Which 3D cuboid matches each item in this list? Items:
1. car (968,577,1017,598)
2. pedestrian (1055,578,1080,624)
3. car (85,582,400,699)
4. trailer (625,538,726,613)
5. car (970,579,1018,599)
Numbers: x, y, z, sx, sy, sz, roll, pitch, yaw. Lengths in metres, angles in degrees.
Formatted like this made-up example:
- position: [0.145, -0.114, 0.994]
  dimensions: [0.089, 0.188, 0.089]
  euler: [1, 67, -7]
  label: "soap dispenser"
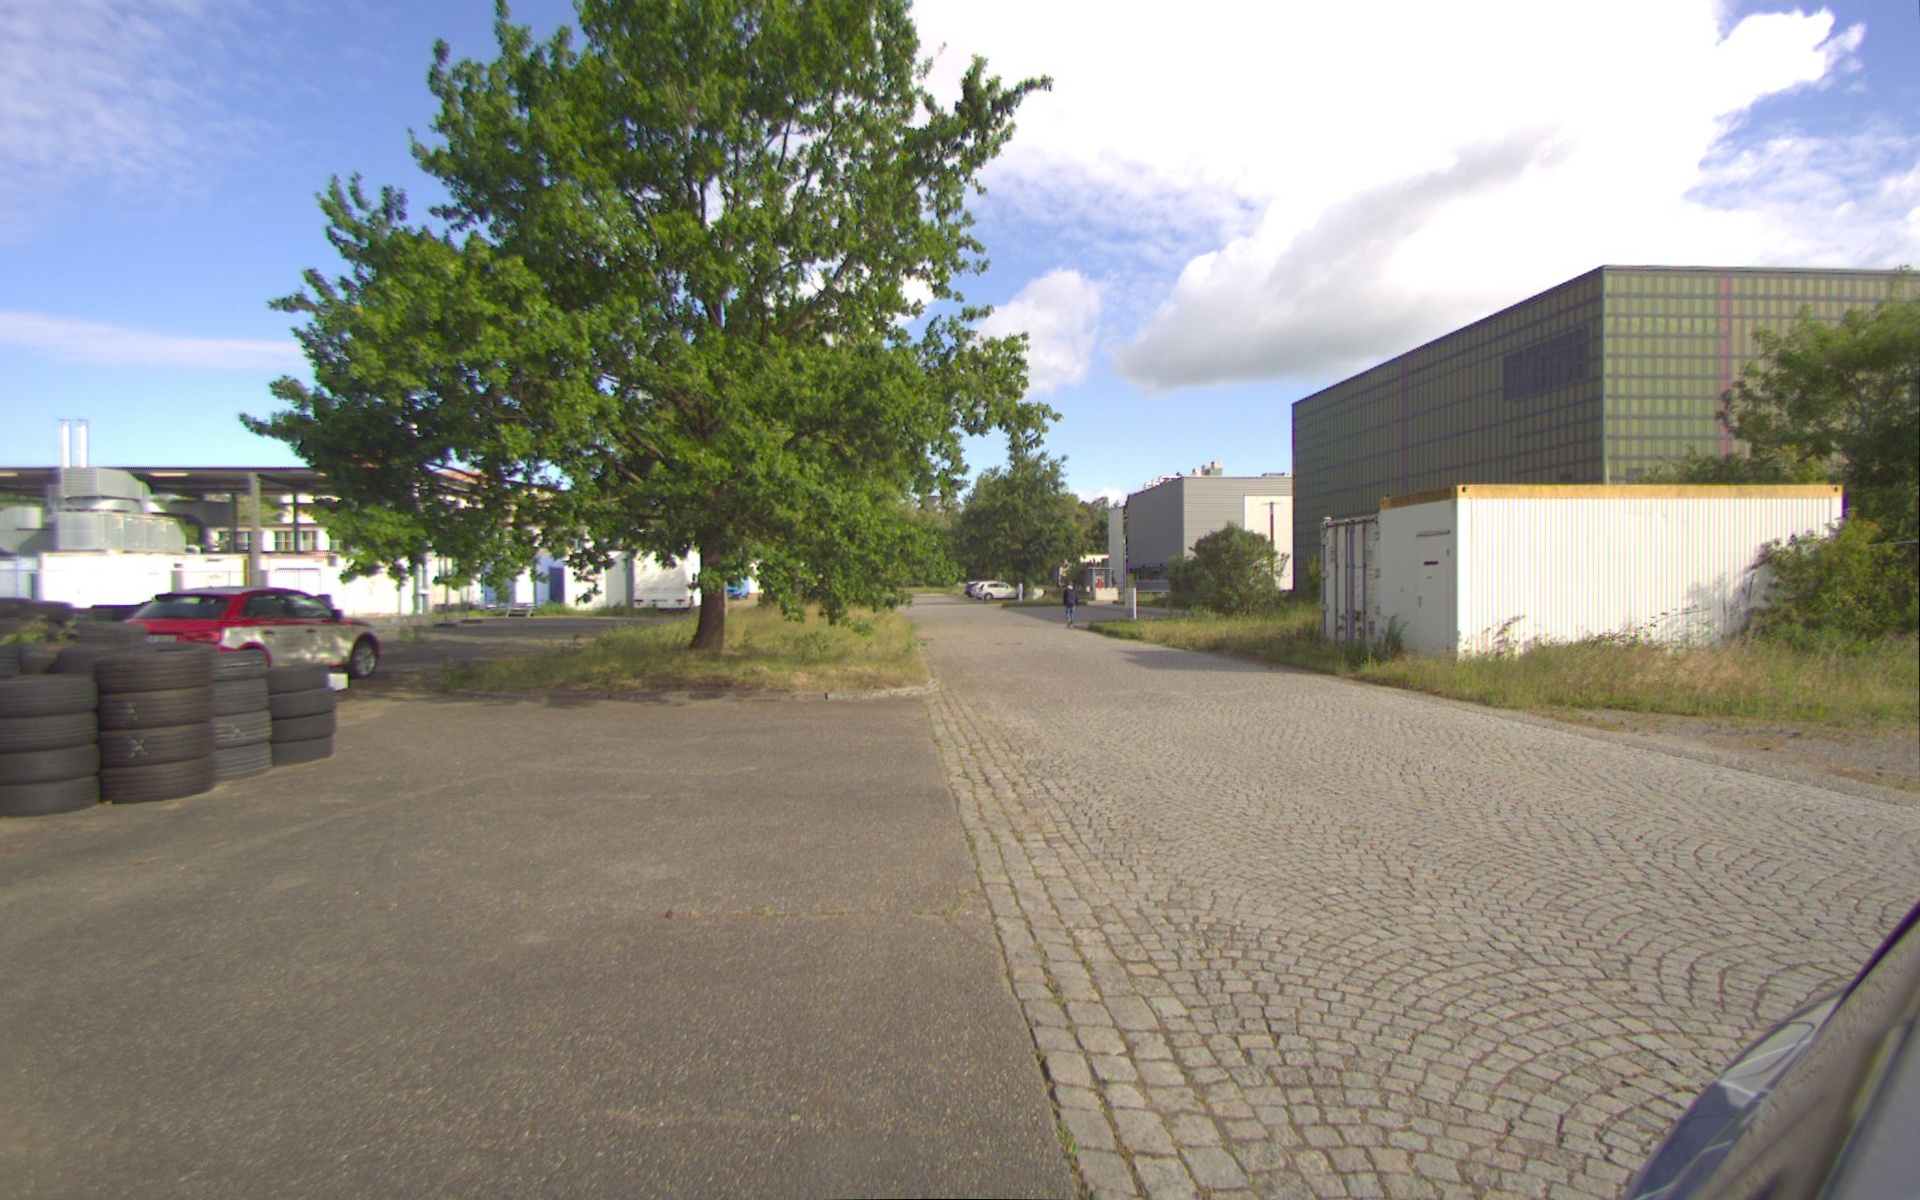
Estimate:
- position: [2.602, -1.043, 81.545]
  dimensions: [3.925, 1.663, 1.999]
  euler: [0, 1, 2]
  label: "car"
- position: [3.762, 0.038, 35.517]
  dimensions: [0.853, 1.578, 1.026]
  euler: [-1, 1, 7]
  label: "pedestrian"
- position: [-10.245, 0.484, 14.884]
  dimensions: [1.696, 1.482, 3.998]
  euler: [0, 1, 2]
  label: "car"
- position: [-14.556, -1.239, 52.691]
  dimensions: [2.869, 3.514, 9.907]
  euler: [-1, 1, -2]
  label: "trailer"
- position: [2.815, -0.909, 84.230]
  dimensions: [3.925, 1.663, 1.999]
  euler: [0, 1, 2]
  label: "car"
